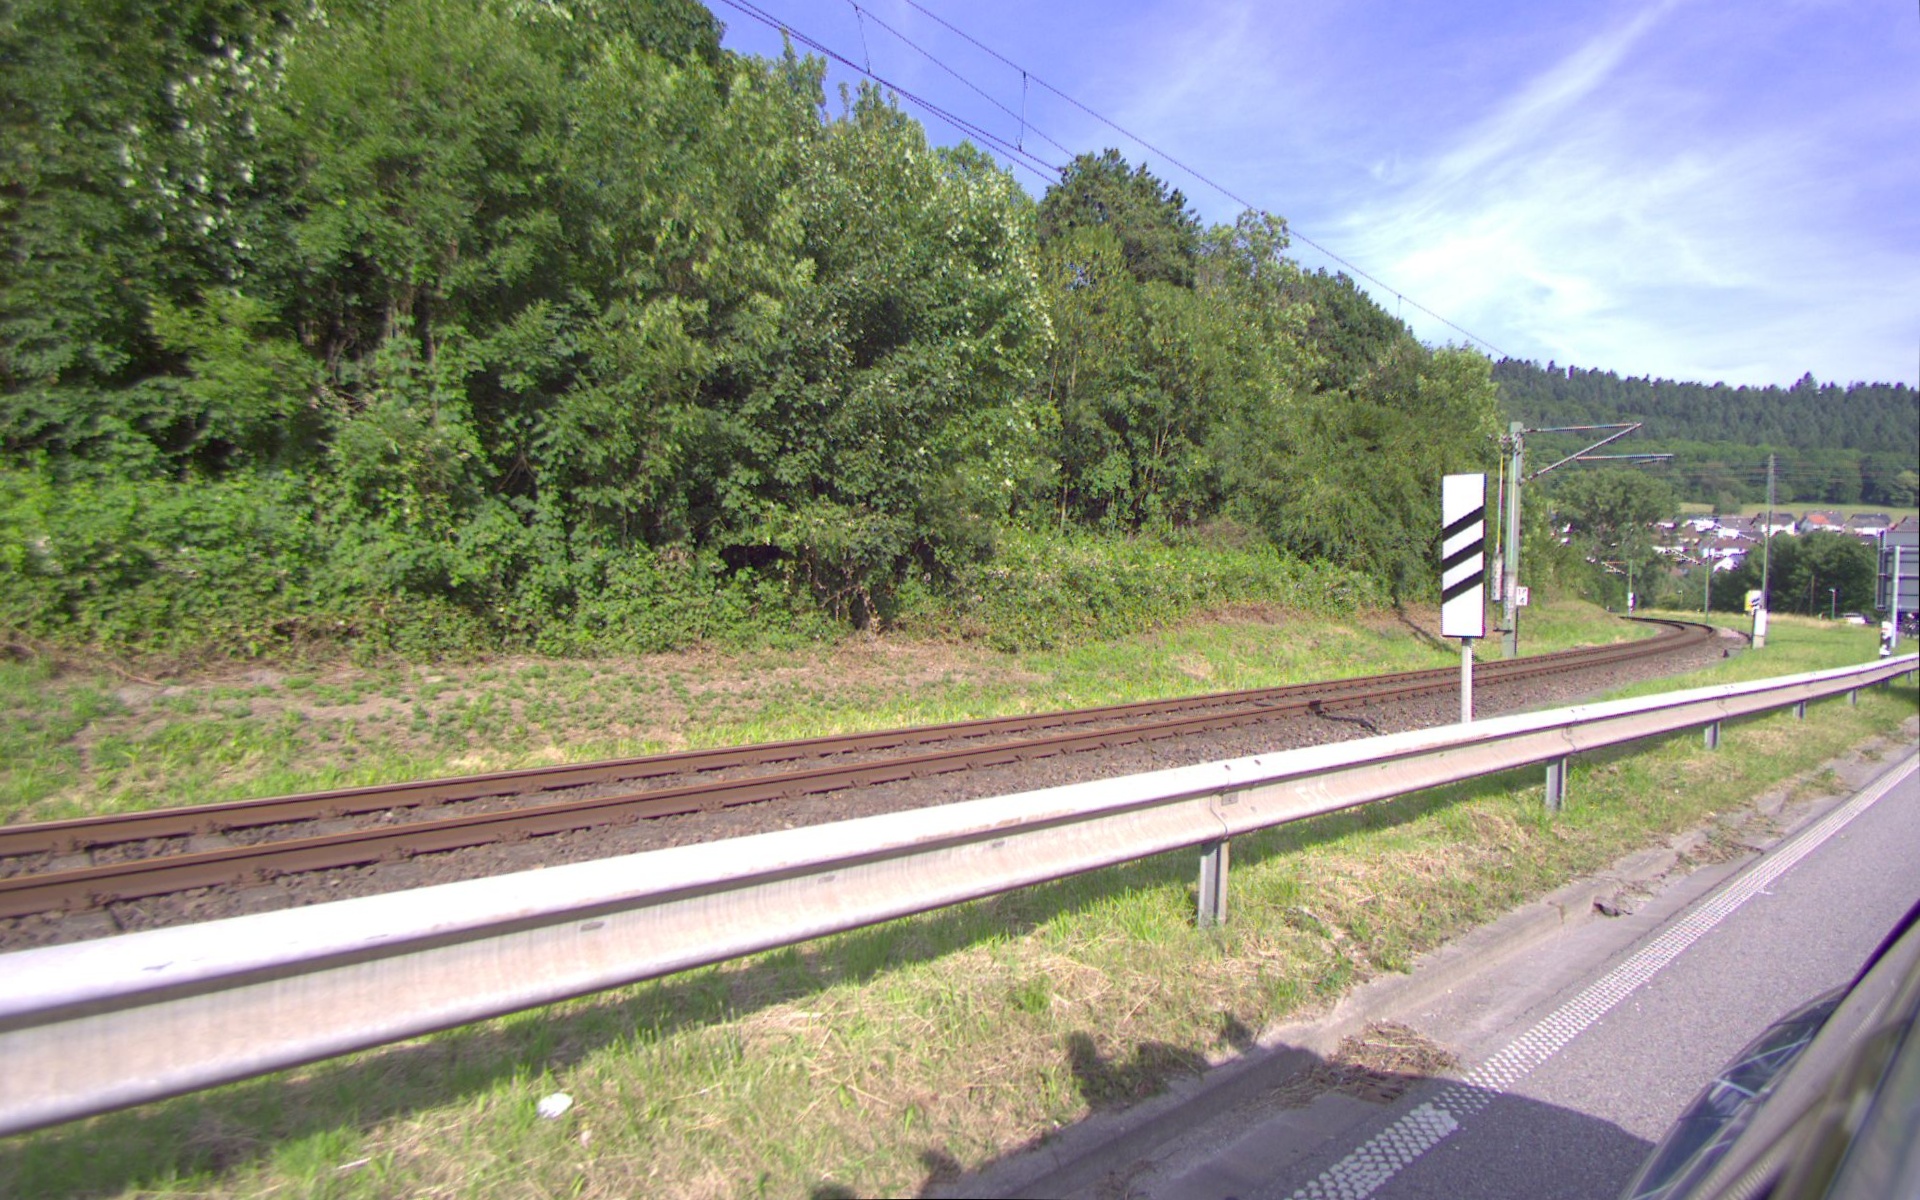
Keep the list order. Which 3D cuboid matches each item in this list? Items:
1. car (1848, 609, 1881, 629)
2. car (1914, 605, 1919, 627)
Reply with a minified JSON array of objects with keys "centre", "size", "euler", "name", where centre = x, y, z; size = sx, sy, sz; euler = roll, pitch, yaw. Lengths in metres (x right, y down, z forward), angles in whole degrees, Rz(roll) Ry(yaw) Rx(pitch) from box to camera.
[{"centre":[95.255,2.011,106.587],"size":[1.985,2.039,3.953],"euler":[0,0,33],"name":"car"},{"centre":[71.710,1.205,74.448],"size":[1.864,1.613,3.996],"euler":[0,0,38],"name":"car"}]
